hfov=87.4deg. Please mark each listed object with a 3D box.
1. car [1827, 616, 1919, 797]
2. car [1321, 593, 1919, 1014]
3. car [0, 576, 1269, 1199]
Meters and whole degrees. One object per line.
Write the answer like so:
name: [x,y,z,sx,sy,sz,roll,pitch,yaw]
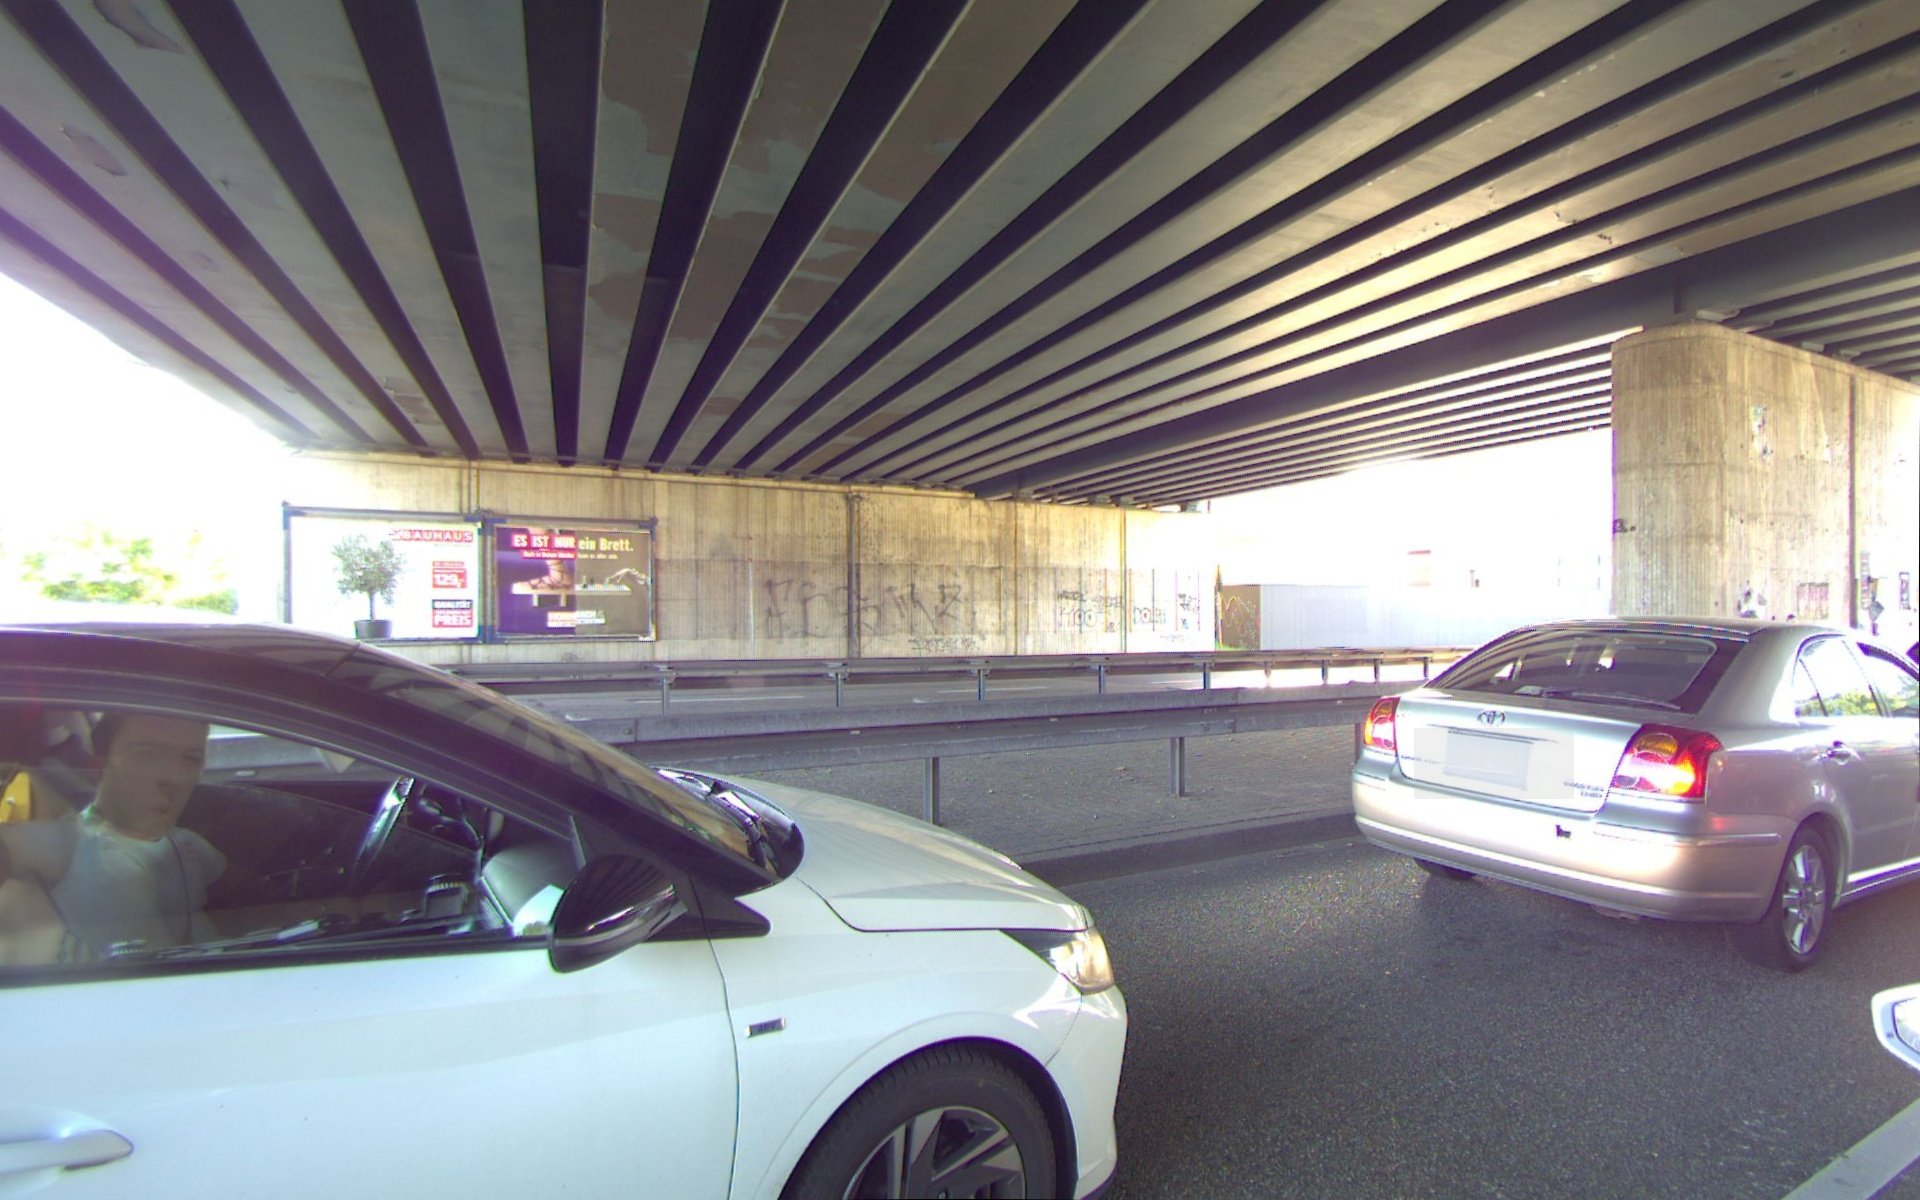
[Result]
car: [9.540,0.885,8.860,3.687,1.457,1.804,0,0,-31]
car: [4.083,0.772,5.455,4.270,1.499,1.724,1,-1,-32]
car: [-1.426,0.728,1.963,3.946,1.499,1.724,1,-1,-32]
